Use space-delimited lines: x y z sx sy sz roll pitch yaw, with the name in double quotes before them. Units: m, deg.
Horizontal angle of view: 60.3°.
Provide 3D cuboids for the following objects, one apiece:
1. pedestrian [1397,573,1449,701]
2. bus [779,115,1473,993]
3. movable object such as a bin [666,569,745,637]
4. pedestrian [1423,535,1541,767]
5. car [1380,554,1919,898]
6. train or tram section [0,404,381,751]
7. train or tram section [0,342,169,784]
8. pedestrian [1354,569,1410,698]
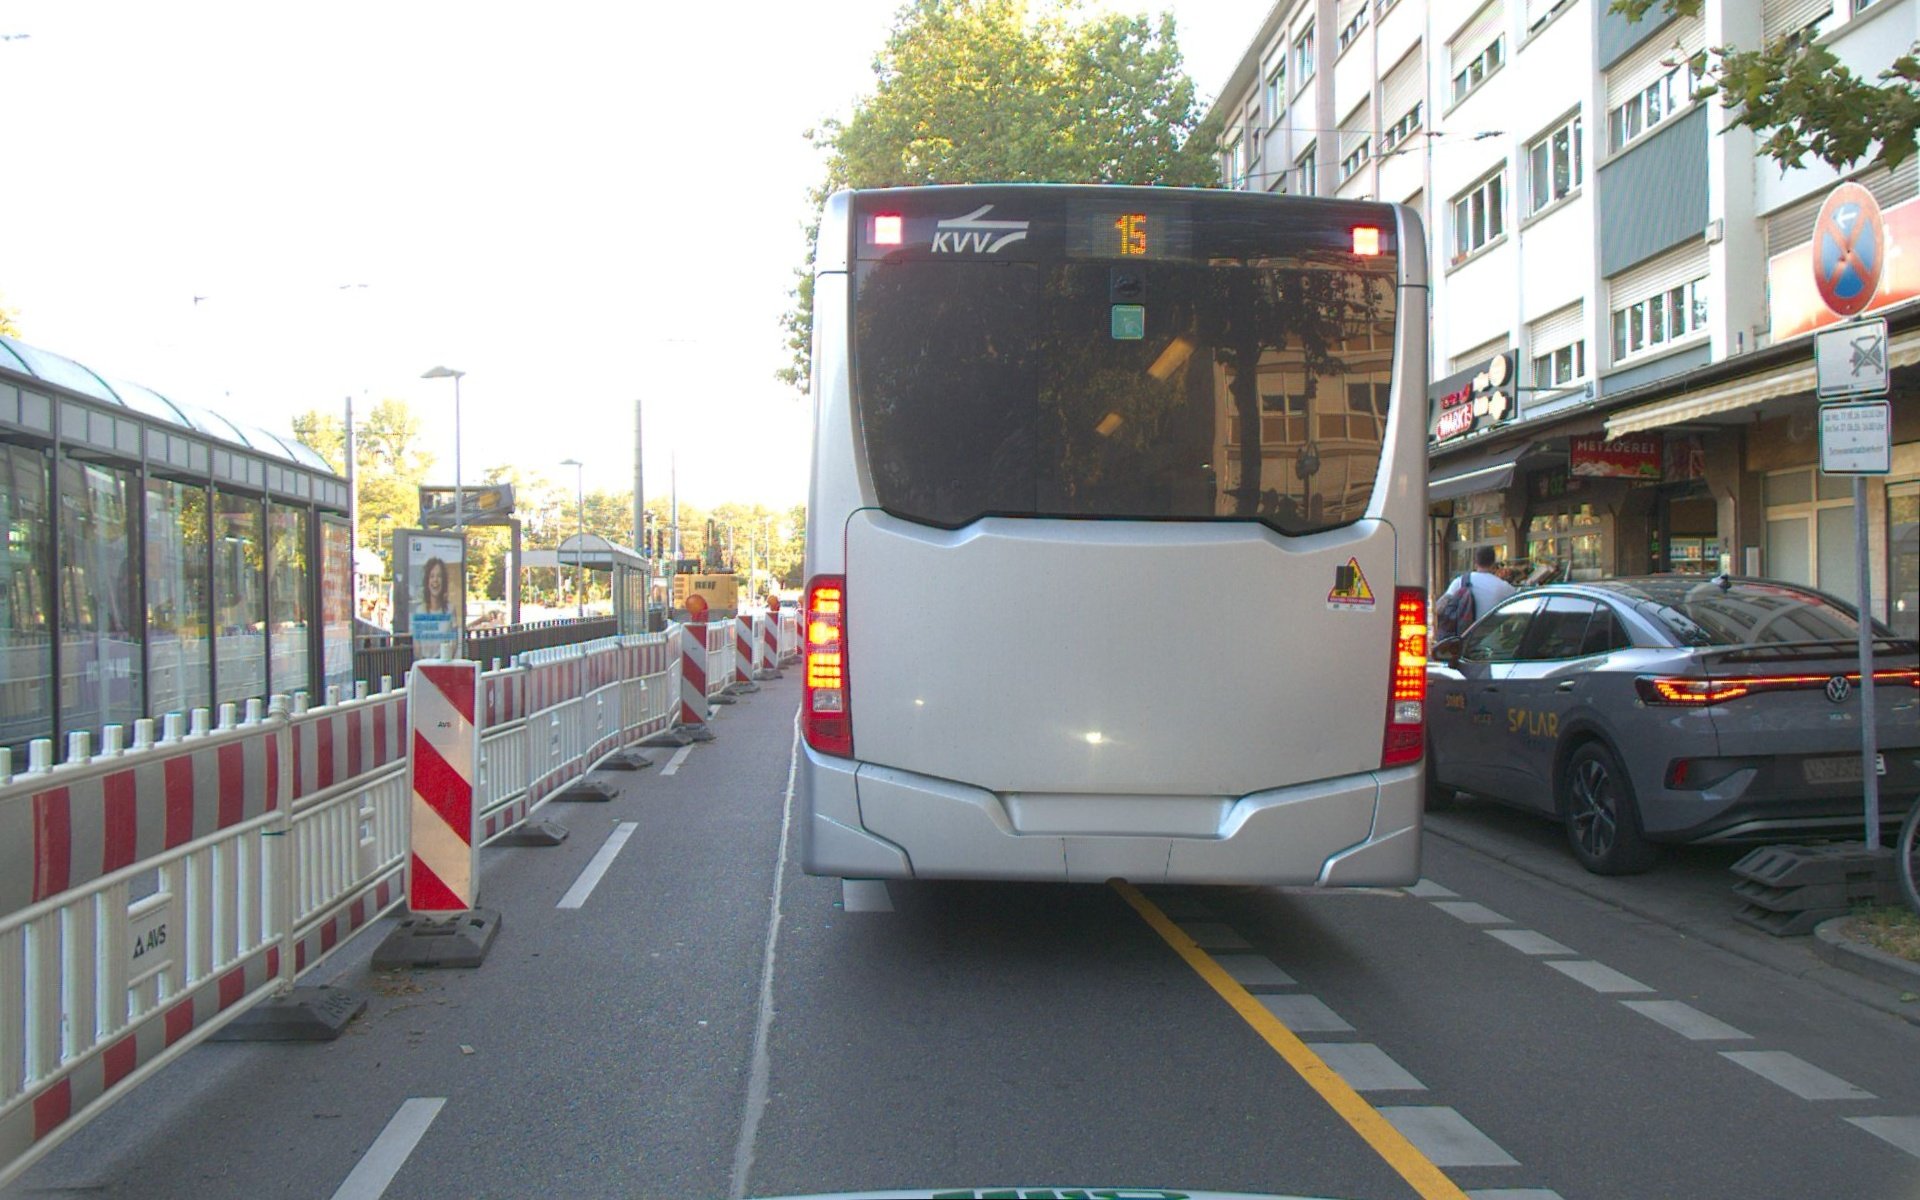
"pedestrian" 7.547 0.598 27.001 0.600 2.049 0.696 -1 0 -4
"bus" 0.575 -0.183 11.241 2.555 3.225 10.290 0 0 -1
"movable object such as a bin" -9.705 0.103 63.503 2.752 2.505 3.995 0 0 -6
"pedestrian" 4.778 0.456 15.180 0.754 2.049 0.713 -2 0 -4
"car" 4.229 0.608 10.340 1.706 1.625 4.294 -3 0 -5
"train or tram section" -10.281 -0.220 22.079 2.763 3.548 10.320 0 0 -8
"train or tram section" -8.928 -0.297 11.860 2.782 3.548 10.321 0 0 -7
"pedestrian" 6.821 0.541 26.764 0.677 2.049 0.696 -1 0 -2
